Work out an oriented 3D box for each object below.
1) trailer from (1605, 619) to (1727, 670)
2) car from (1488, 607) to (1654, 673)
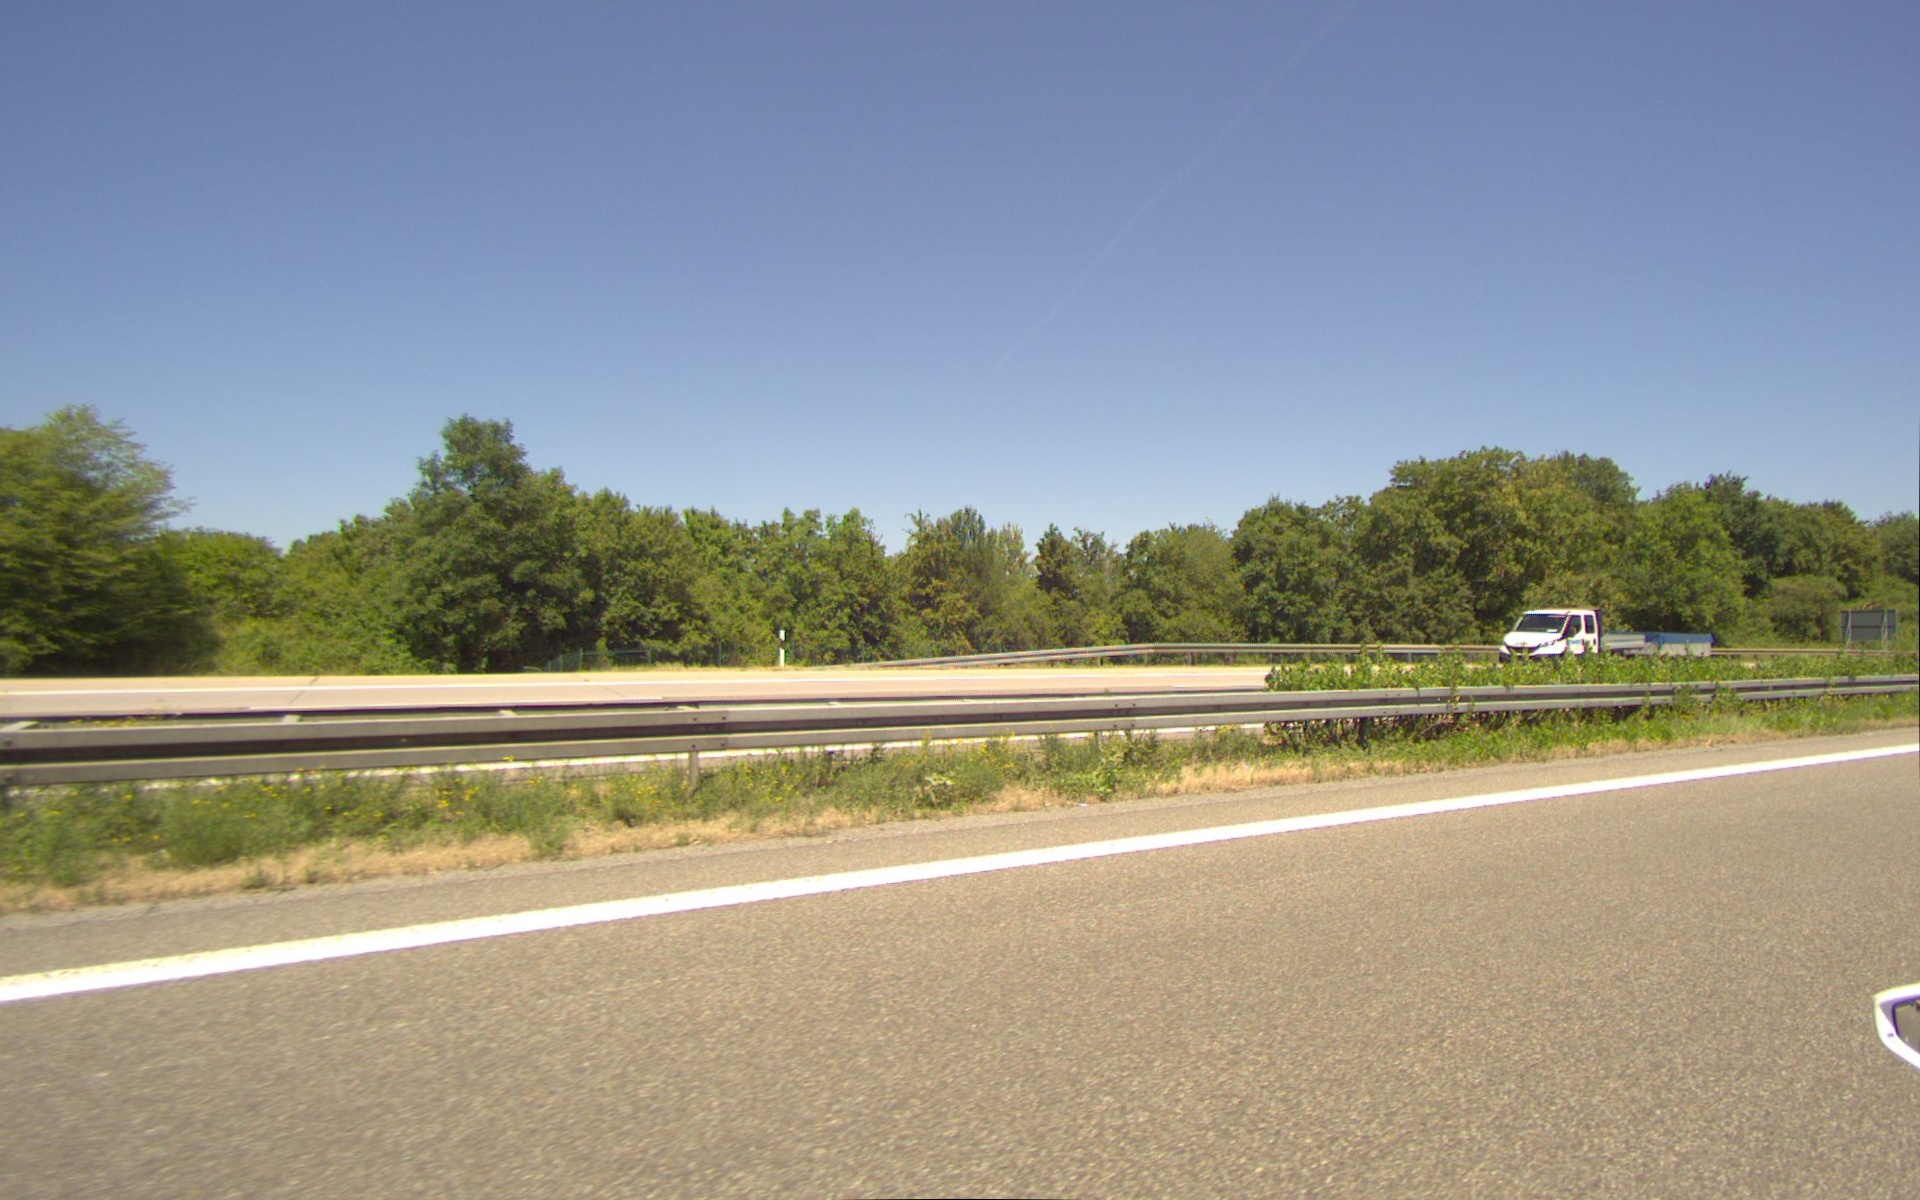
[{"bbox_3d":[27.488,1.711,39.086,4.931,1.860,2.019,2,-1,-30],"label":"trailer"},{"bbox_3d":[21.862,1.405,35.845,6.463,2.201,2.234,2,-1,-30],"label":"car"}]
